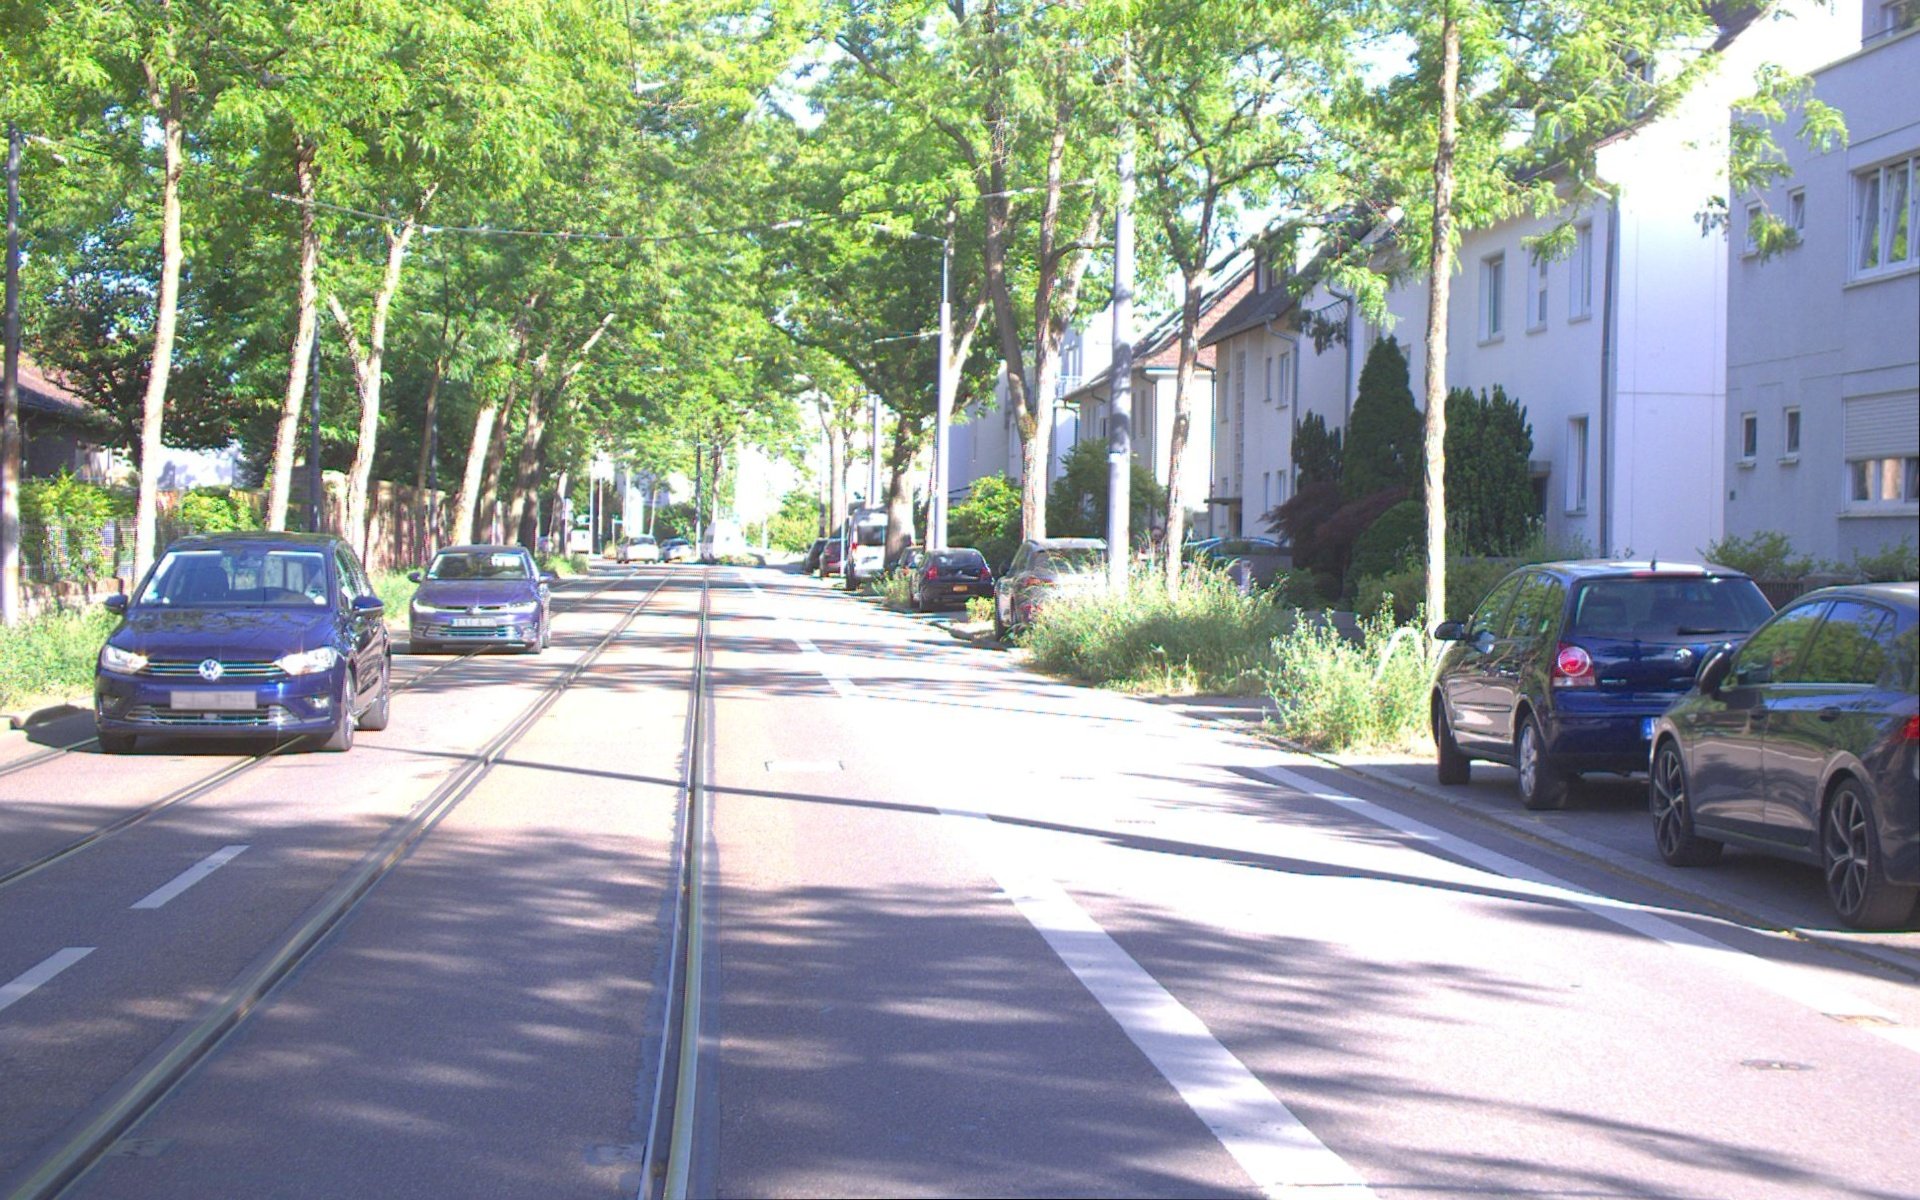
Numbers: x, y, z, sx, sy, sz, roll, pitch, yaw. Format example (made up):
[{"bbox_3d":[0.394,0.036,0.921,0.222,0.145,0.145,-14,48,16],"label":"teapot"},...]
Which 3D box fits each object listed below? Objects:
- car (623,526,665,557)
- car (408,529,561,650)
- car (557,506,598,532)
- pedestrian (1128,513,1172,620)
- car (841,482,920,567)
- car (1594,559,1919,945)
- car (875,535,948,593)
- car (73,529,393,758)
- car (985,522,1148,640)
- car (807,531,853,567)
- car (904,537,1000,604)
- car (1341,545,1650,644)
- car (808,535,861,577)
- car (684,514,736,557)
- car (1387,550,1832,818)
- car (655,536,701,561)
[{"bbox_3d":[-17.665,-3.267,192.044,1.865,1.669,4.174,0,1,-12],"label":"car"},{"bbox_3d":[-6.355,-0.171,46.245,1.748,1.519,4.071,1,1,-4],"label":"car"},{"bbox_3d":[-29.015,-6.166,260.510,2.002,1.903,4.393,-1,1,-22],"label":"car"},{"bbox_3d":[3.361,-0.599,60.817,0.625,1.864,0.732,-2,1,-5],"label":"pedestrian"},{"bbox_3d":[-2.609,-2.433,111.375,2.245,2.645,5.586,-1,1,-4],"label":"car"},{"bbox_3d":[4.363,0.578,15.872,1.748,1.490,4.444,0,1,-4],"label":"car"},{"bbox_3d":[-1.286,-0.953,89.811,1.627,1.393,3.646,-2,2,-4],"label":"car"},{"bbox_3d":[-5.274,0.264,25.396,1.748,1.519,4.036,1,1,-4],"label":"car"},{"bbox_3d":[1.612,-0.335,53.837,1.993,1.698,4.478,-2,1,-5],"label":"car"},{"bbox_3d":[-6.065,-2.396,160.950,2.003,1.669,4.392,-1,1,0],"label":"car"},{"bbox_3d":[-0.214,-0.715,80.148,1.783,1.443,4.302,-2,2,-6],"label":"car"},{"bbox_3d":[7.674,-0.094,49.484,4.050,1.338,1.878,1,1,-4],"label":"car"},{"bbox_3d":[-5.239,-1.849,143.445,2.002,1.669,4.393,-1,1,-4],"label":"car"},{"bbox_3d":[-14.288,-3.682,196.228,1.993,2.449,4.510,0,1,-17],"label":"car"},{"bbox_3d":[3.916,0.445,21.400,1.748,1.490,3.997,0,1,-4],"label":"car"},{"bbox_3d":[-17.574,-3.213,213.972,2.002,1.555,4.394,0,1,-16],"label":"car"}]
